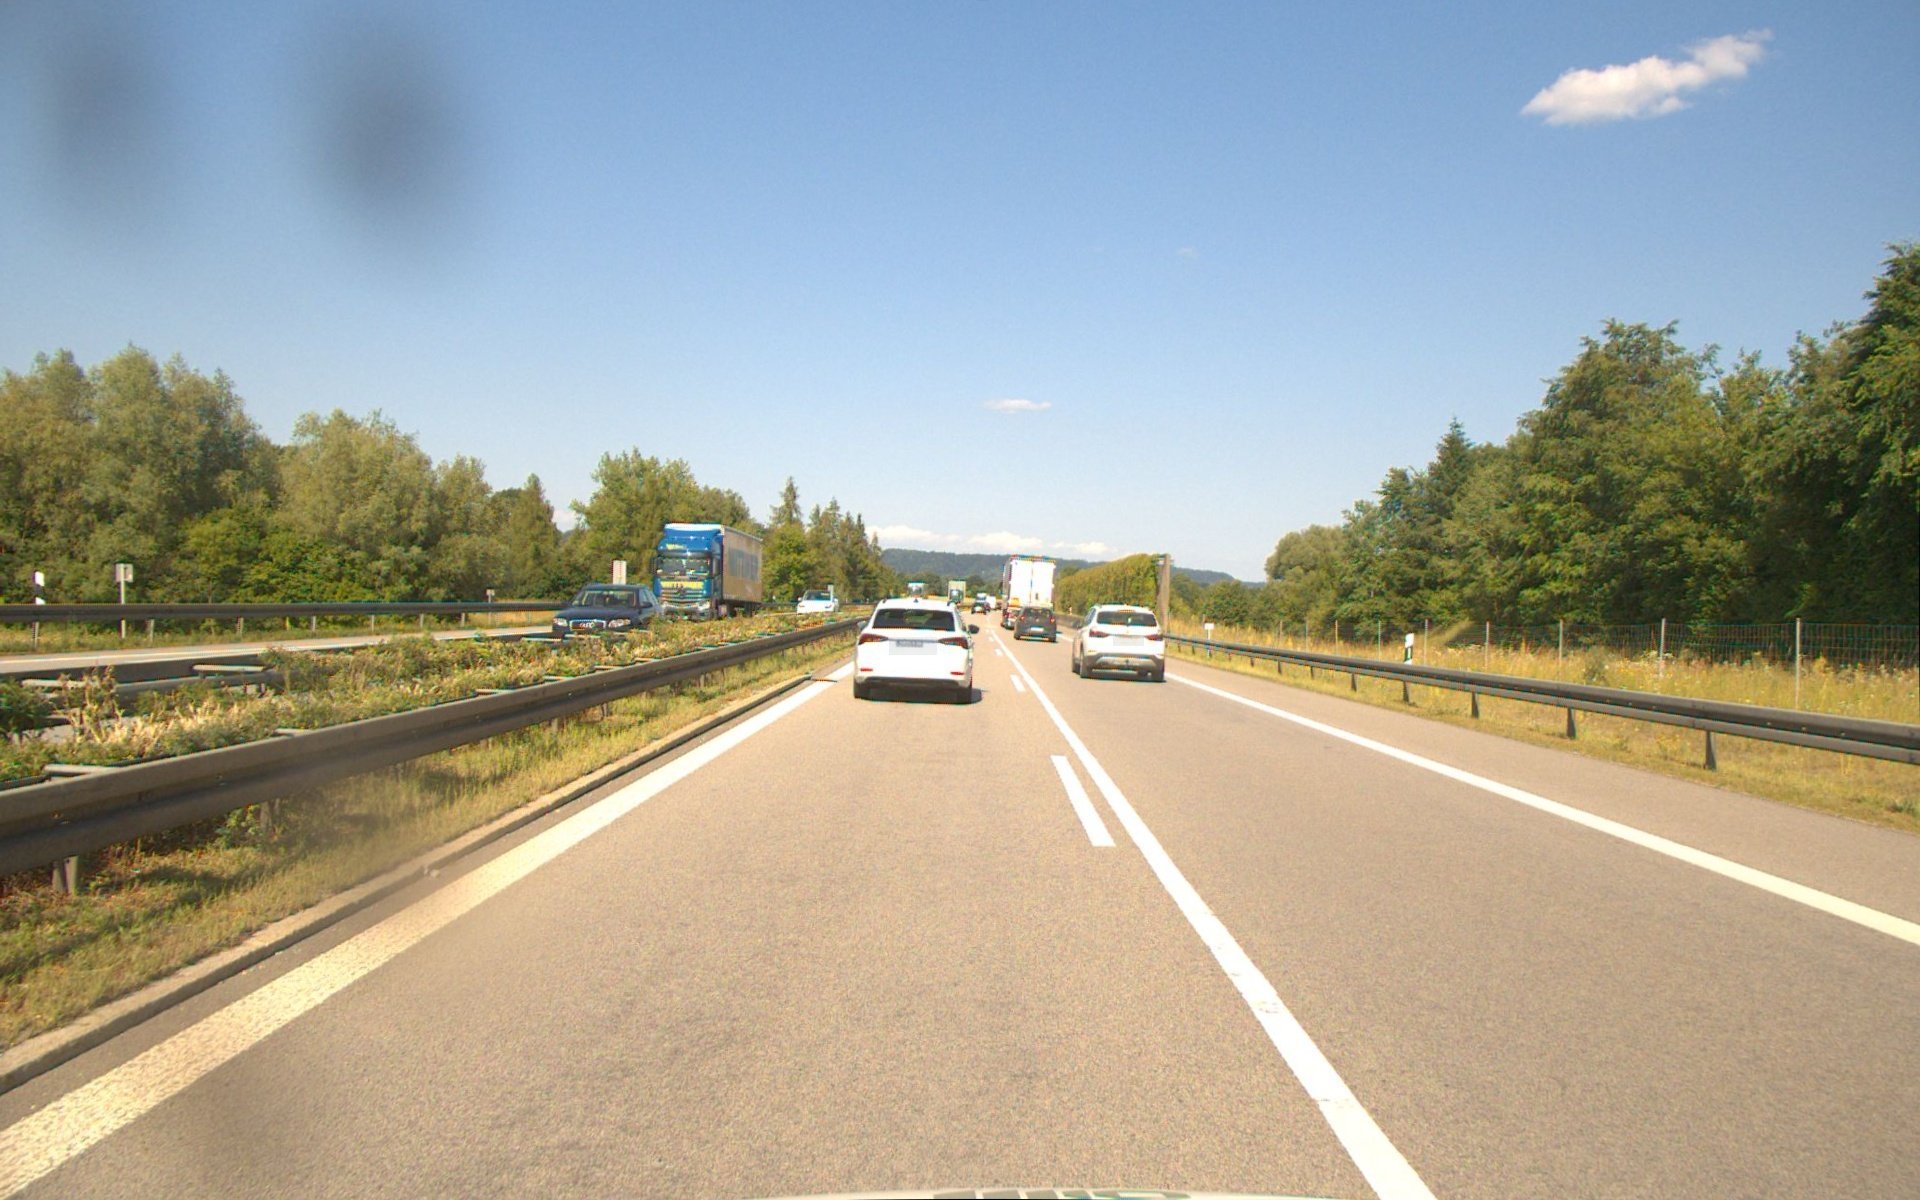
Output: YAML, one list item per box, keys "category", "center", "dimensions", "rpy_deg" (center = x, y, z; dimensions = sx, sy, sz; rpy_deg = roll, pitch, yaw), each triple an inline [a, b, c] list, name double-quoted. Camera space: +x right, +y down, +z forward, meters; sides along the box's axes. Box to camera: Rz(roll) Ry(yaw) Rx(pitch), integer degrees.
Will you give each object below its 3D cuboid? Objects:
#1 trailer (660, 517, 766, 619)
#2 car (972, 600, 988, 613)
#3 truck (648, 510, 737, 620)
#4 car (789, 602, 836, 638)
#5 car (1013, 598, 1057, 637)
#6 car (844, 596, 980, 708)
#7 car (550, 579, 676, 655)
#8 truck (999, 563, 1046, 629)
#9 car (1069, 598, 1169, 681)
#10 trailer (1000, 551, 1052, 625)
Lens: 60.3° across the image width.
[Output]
- category: "trailer"
  center: [-11.278, -1.339, 77.035]
  dimensions: [2.731, 4.233, 14.392]
  rpy_deg: [2, 0, 0]
- category: "car"
  center: [2.433, 0.755, 198.578]
  dimensions: [1.735, 1.445, 4.496]
  rpy_deg: [4, 0, 1]
- category: "truck"
  center: [-11.239, -1.405, 70.078]
  dimensions: [2.684, 4.378, 6.334]
  rpy_deg: [2, 0, -1]
- category: "car"
  center: [-7.342, 0.973, 82.710]
  dimensions: [1.953, 1.694, 4.633]
  rpy_deg: [1, 0, 0]
- category: "car"
  center: [3.138, 0.715, 70.084]
  dimensions: [1.631, 1.479, 4.544]
  rpy_deg: [4, 0, 1]
- category: "car"
  center: [-0.634, 0.714, 25.615]
  dimensions: [1.802, 1.445, 5.255]
  rpy_deg: [3, 0, 1]
- category: "car"
  center: [-7.182, 0.332, 34.703]
  dimensions: [1.646, 1.485, 4.925]
  rpy_deg: [0, 0, -1]
- category: "truck"
  center: [3.951, -0.236, 106.108]
  dimensions: [2.782, 4.036, 7.044]
  rpy_deg: [2, 0, 1]
- category: "car"
  center: [3.385, 0.797, 36.059]
  dimensions: [1.650, 1.521, 4.987]
  rpy_deg: [4, 1, 0]
- category: "trailer"
  center: [3.844, -0.666, 99.368]
  dimensions: [2.760, 4.036, 14.162]
  rpy_deg: [2, 0, 1]
